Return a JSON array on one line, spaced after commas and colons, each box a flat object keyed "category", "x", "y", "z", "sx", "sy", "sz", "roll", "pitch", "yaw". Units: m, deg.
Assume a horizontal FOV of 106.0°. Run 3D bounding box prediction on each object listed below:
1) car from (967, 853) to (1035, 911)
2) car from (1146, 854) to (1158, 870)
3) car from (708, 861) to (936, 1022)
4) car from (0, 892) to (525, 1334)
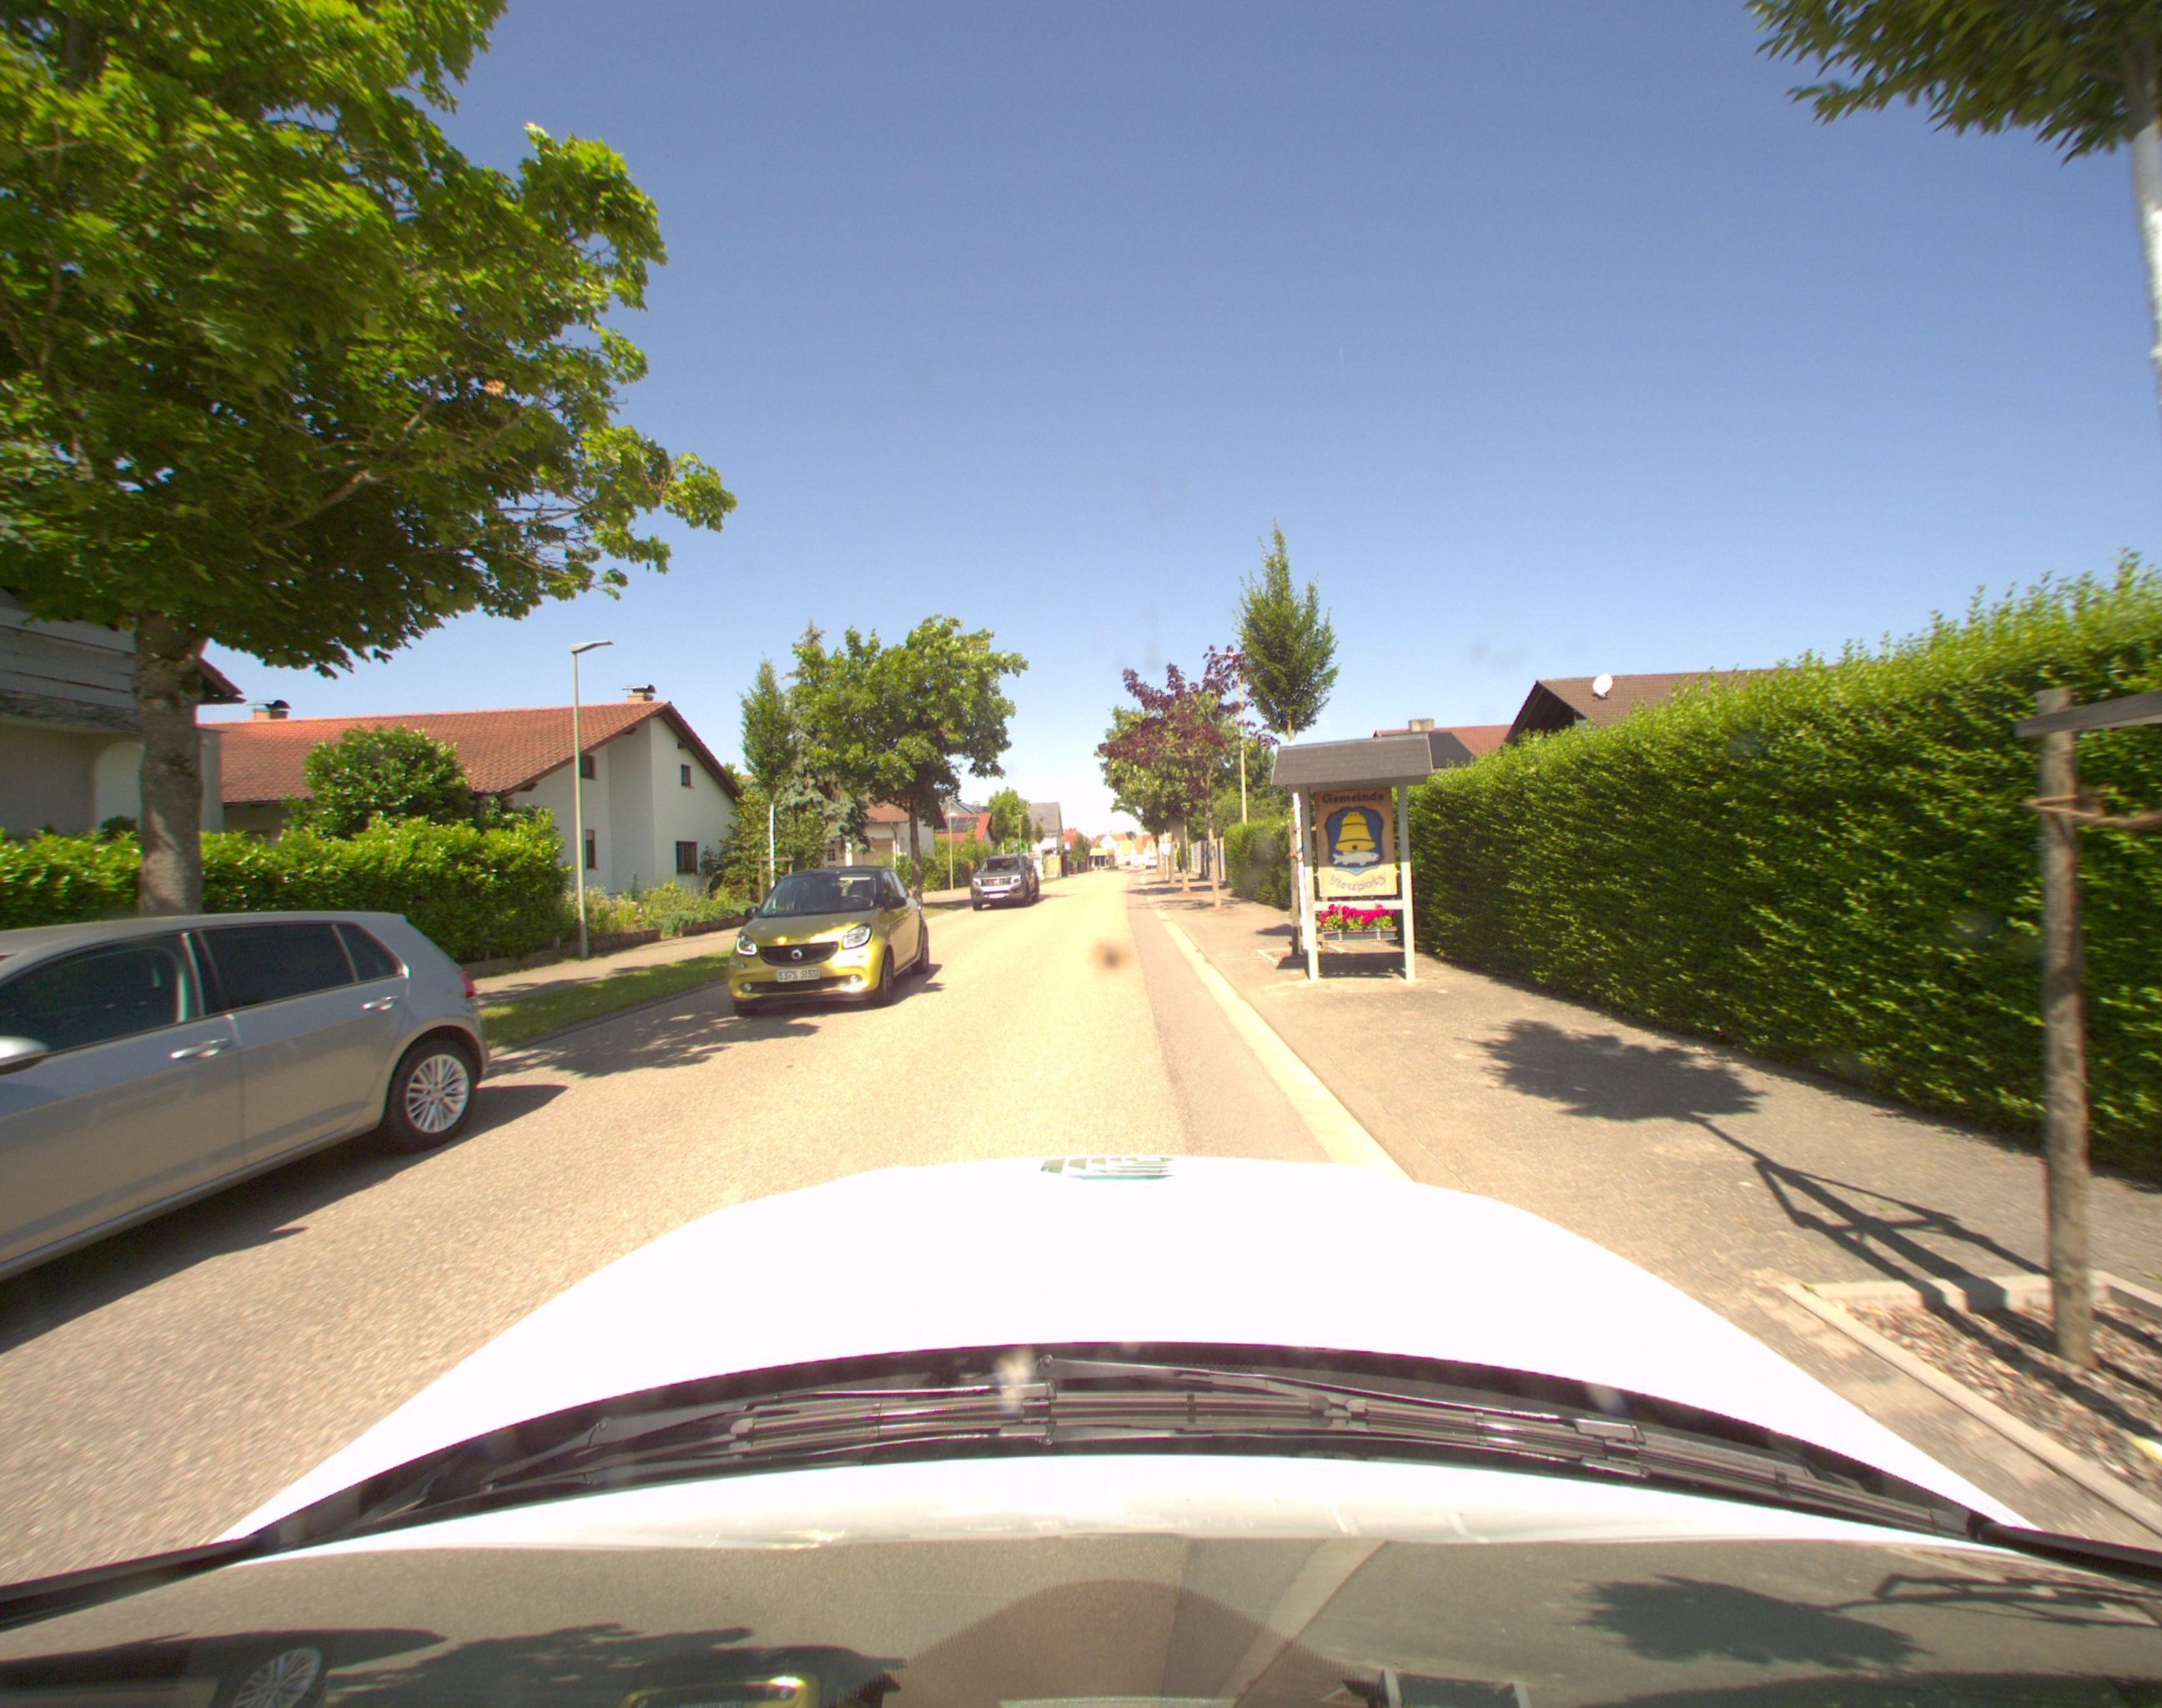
[{"category": "car", "x": -2.684, "y": 0.916, "z": 28.118, "sx": 1.830, "sy": 1.752, "sz": 3.795, "roll": -4, "pitch": 0, "yaw": 0}, {"category": "car", "x": 11.165, "y": 1.251, "z": 128.123, "sx": 1.729, "sy": 2.432, "sz": 4.380, "roll": -3, "pitch": -1, "yaw": 5}, {"category": "car", "x": -2.927, "y": 0.899, "z": 9.959, "sx": 1.661, "sy": 1.524, "sz": 3.440, "roll": -3, "pitch": -1, "yaw": -1}, {"category": "car", "x": -4.592, "y": 1.012, "z": 3.405, "sx": 1.642, "sy": 1.423, "sz": 4.079, "roll": -5, "pitch": -1, "yaw": 0}]
